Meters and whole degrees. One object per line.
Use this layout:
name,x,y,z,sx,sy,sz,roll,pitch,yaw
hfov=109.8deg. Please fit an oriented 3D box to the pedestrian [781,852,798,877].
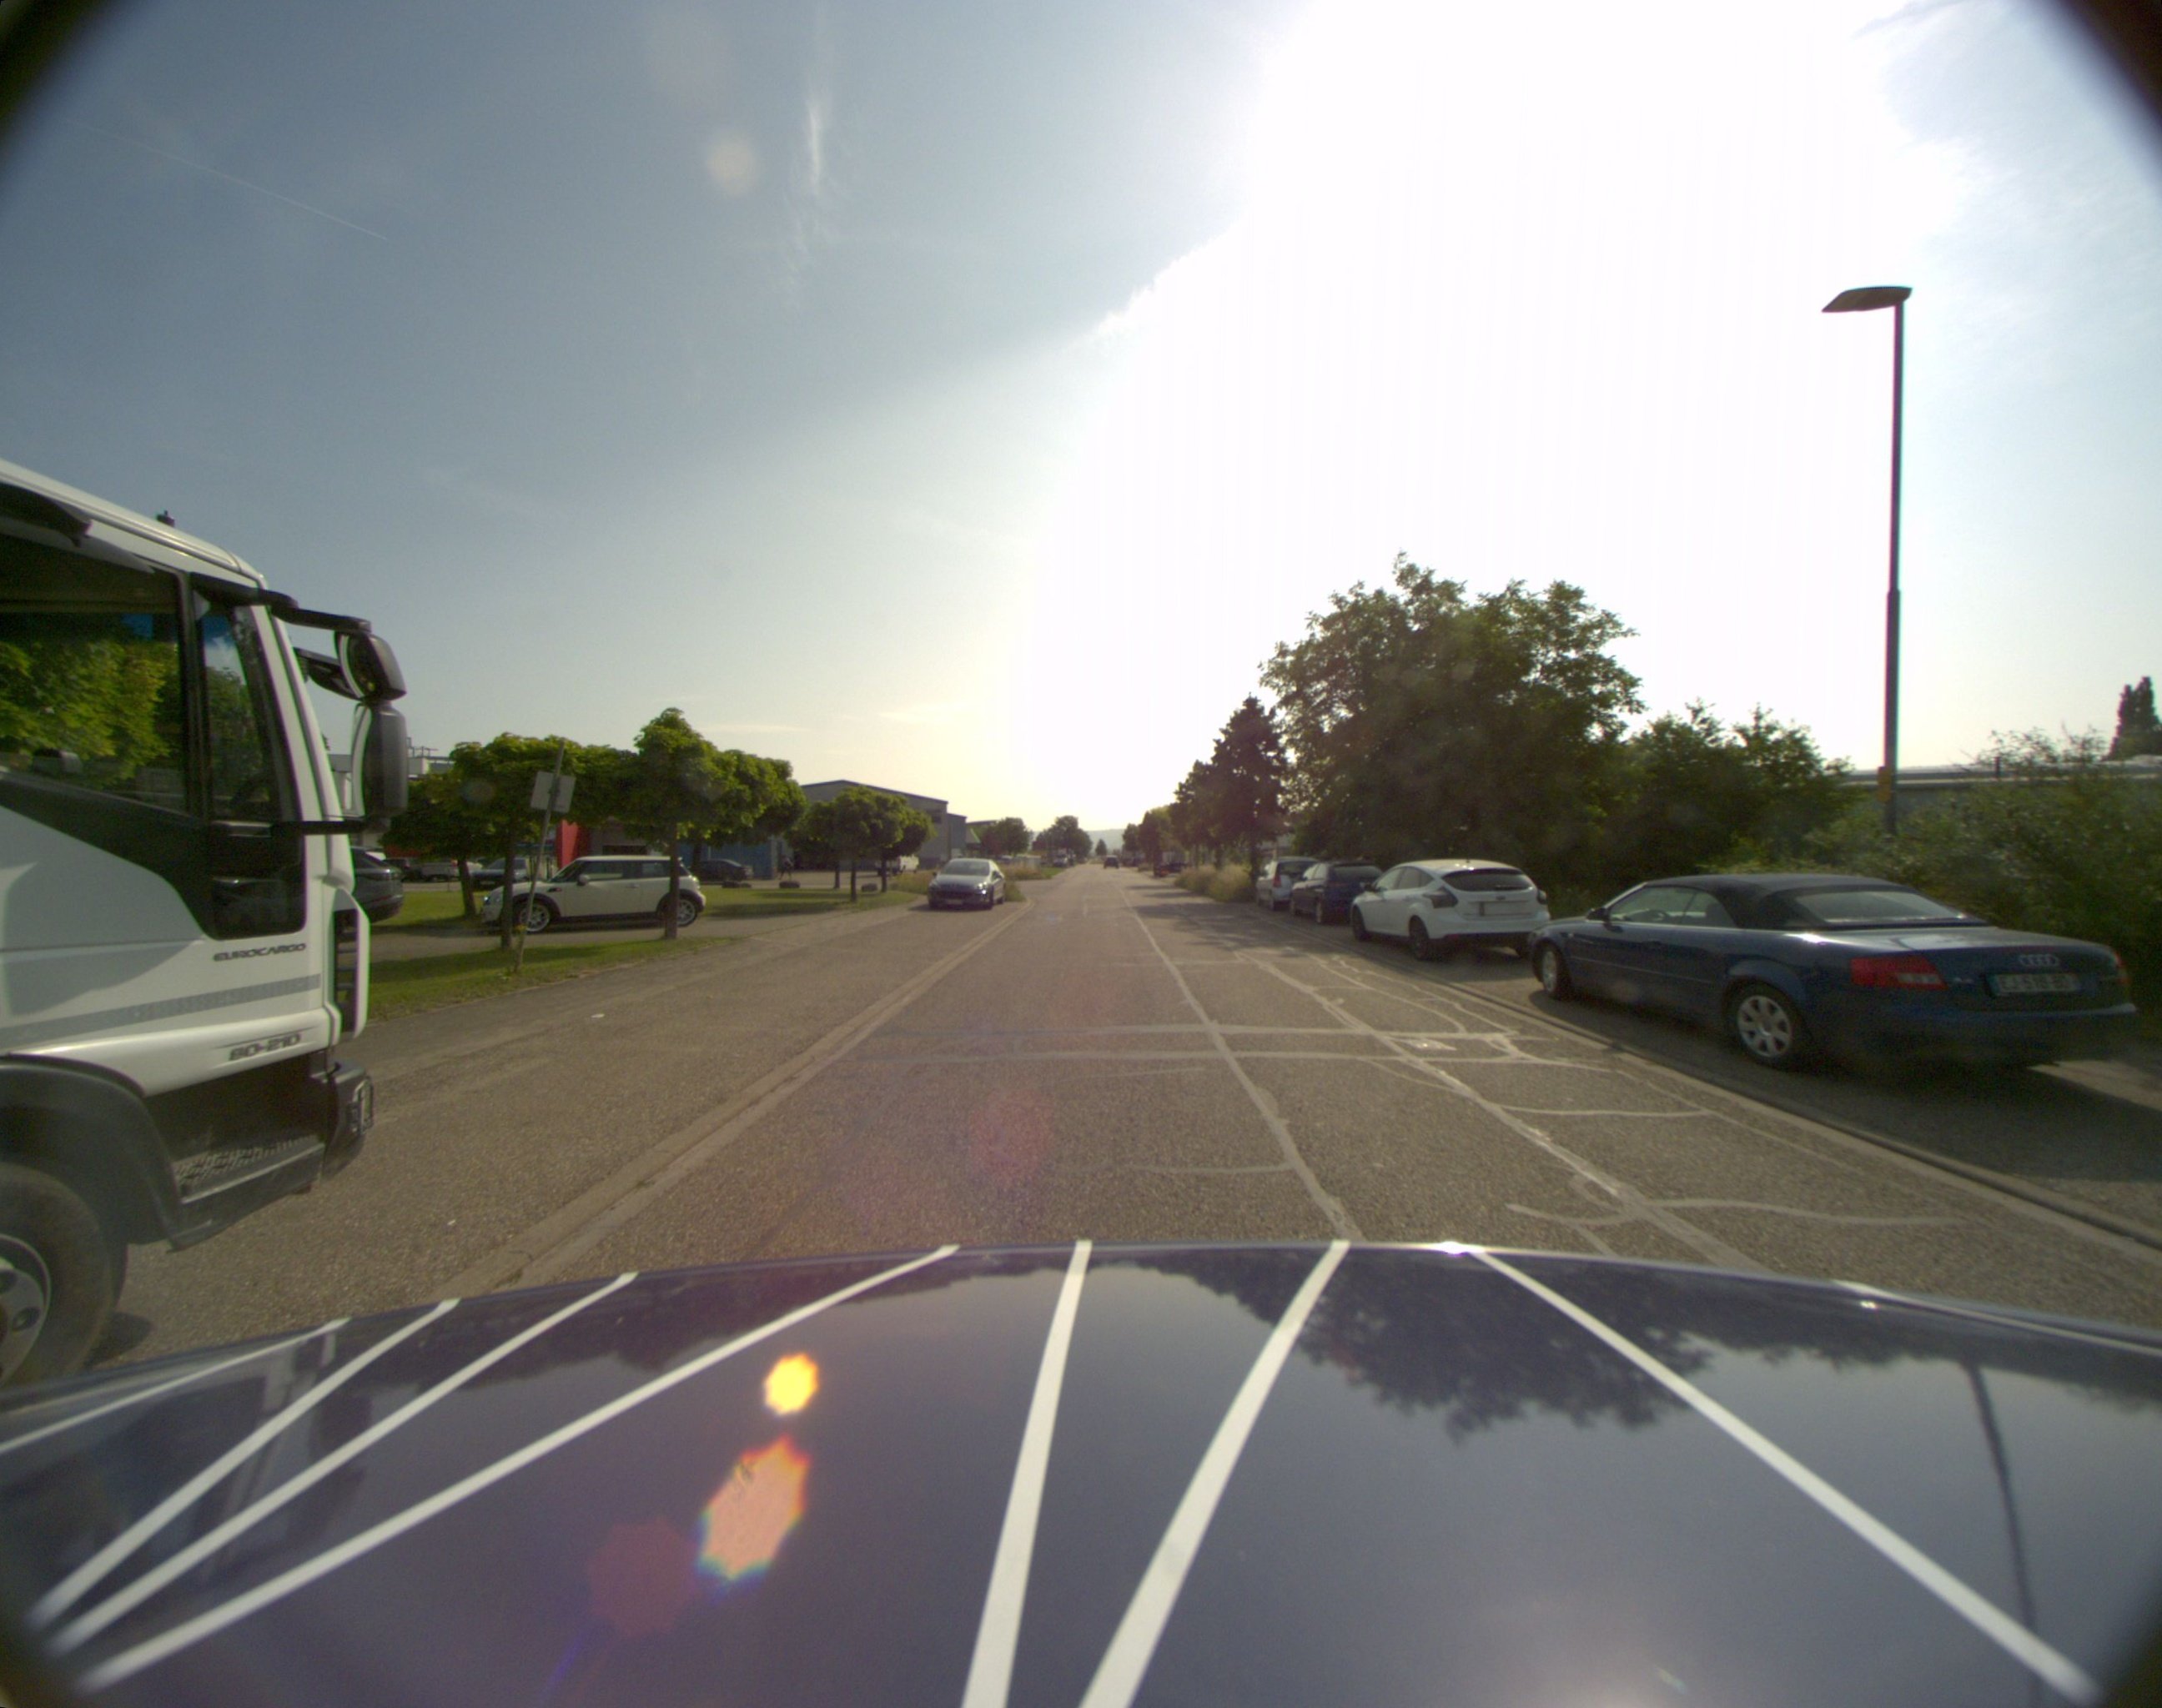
pedestrian,-18.807,0.669,49.021,0.703,1.630,0.750,1,1,34

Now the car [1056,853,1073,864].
car,-2.136,0.604,100.871,1.677,1.361,4.395,0,0,6

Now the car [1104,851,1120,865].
car,3.980,0.539,98.624,1.860,1.705,4.226,2,0,1

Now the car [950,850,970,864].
car,-14.454,0.326,90.802,1.641,1.559,3.799,0,0,-20

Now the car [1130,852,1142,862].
car,8.102,0.469,112.255,1.691,1.461,4.094,0,0,3

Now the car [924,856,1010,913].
car,-3.305,0.829,22.824,1.798,1.508,4.424,1,0,1

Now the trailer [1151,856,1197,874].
trailer,7.203,0.818,60.033,2.589,1.177,9.363,-2,0,1

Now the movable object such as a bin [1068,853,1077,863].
movable object such as a bin,-1.162,0.607,107.682,1.083,1.345,1.506,2,1,4

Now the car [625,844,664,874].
car,-29.898,0.313,52.132,2.003,2.002,3.991,0,1,-26

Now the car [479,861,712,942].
car,-9.446,0.840,14.919,3.705,1.372,1.683,0,0,-38

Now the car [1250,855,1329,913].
car,6.149,0.834,22.760,1.570,1.529,3.689,-1,0,4

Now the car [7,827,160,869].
car,-36.030,-0.248,27.588,1.564,1.442,3.512,0,1,-17

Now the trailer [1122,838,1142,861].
trailer,8.779,-0.786,132.374,2.707,3.862,9.763,-1,0,-1

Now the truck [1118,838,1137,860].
truck,8.594,-0.856,142.013,2.720,3.862,9.634,-1,0,-1

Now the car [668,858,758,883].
car,-21.609,0.961,44.832,4.474,1.401,1.808,0,2,-13

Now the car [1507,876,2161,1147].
car,5.699,0.976,6.562,1.637,1.379,4.369,-1,0,1

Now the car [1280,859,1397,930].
car,6.013,0.877,18.204,1.582,1.435,3.963,-1,0,2

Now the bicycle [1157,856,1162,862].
bicycle,11.577,0.717,111.893,0.563,0.967,2.452,1,0,1

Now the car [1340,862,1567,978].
car,5.768,0.915,12.403,1.687,1.461,4.254,-1,0,1

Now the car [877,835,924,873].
car,-13.284,-0.024,56.322,1.979,2.690,5.880,0,0,1
